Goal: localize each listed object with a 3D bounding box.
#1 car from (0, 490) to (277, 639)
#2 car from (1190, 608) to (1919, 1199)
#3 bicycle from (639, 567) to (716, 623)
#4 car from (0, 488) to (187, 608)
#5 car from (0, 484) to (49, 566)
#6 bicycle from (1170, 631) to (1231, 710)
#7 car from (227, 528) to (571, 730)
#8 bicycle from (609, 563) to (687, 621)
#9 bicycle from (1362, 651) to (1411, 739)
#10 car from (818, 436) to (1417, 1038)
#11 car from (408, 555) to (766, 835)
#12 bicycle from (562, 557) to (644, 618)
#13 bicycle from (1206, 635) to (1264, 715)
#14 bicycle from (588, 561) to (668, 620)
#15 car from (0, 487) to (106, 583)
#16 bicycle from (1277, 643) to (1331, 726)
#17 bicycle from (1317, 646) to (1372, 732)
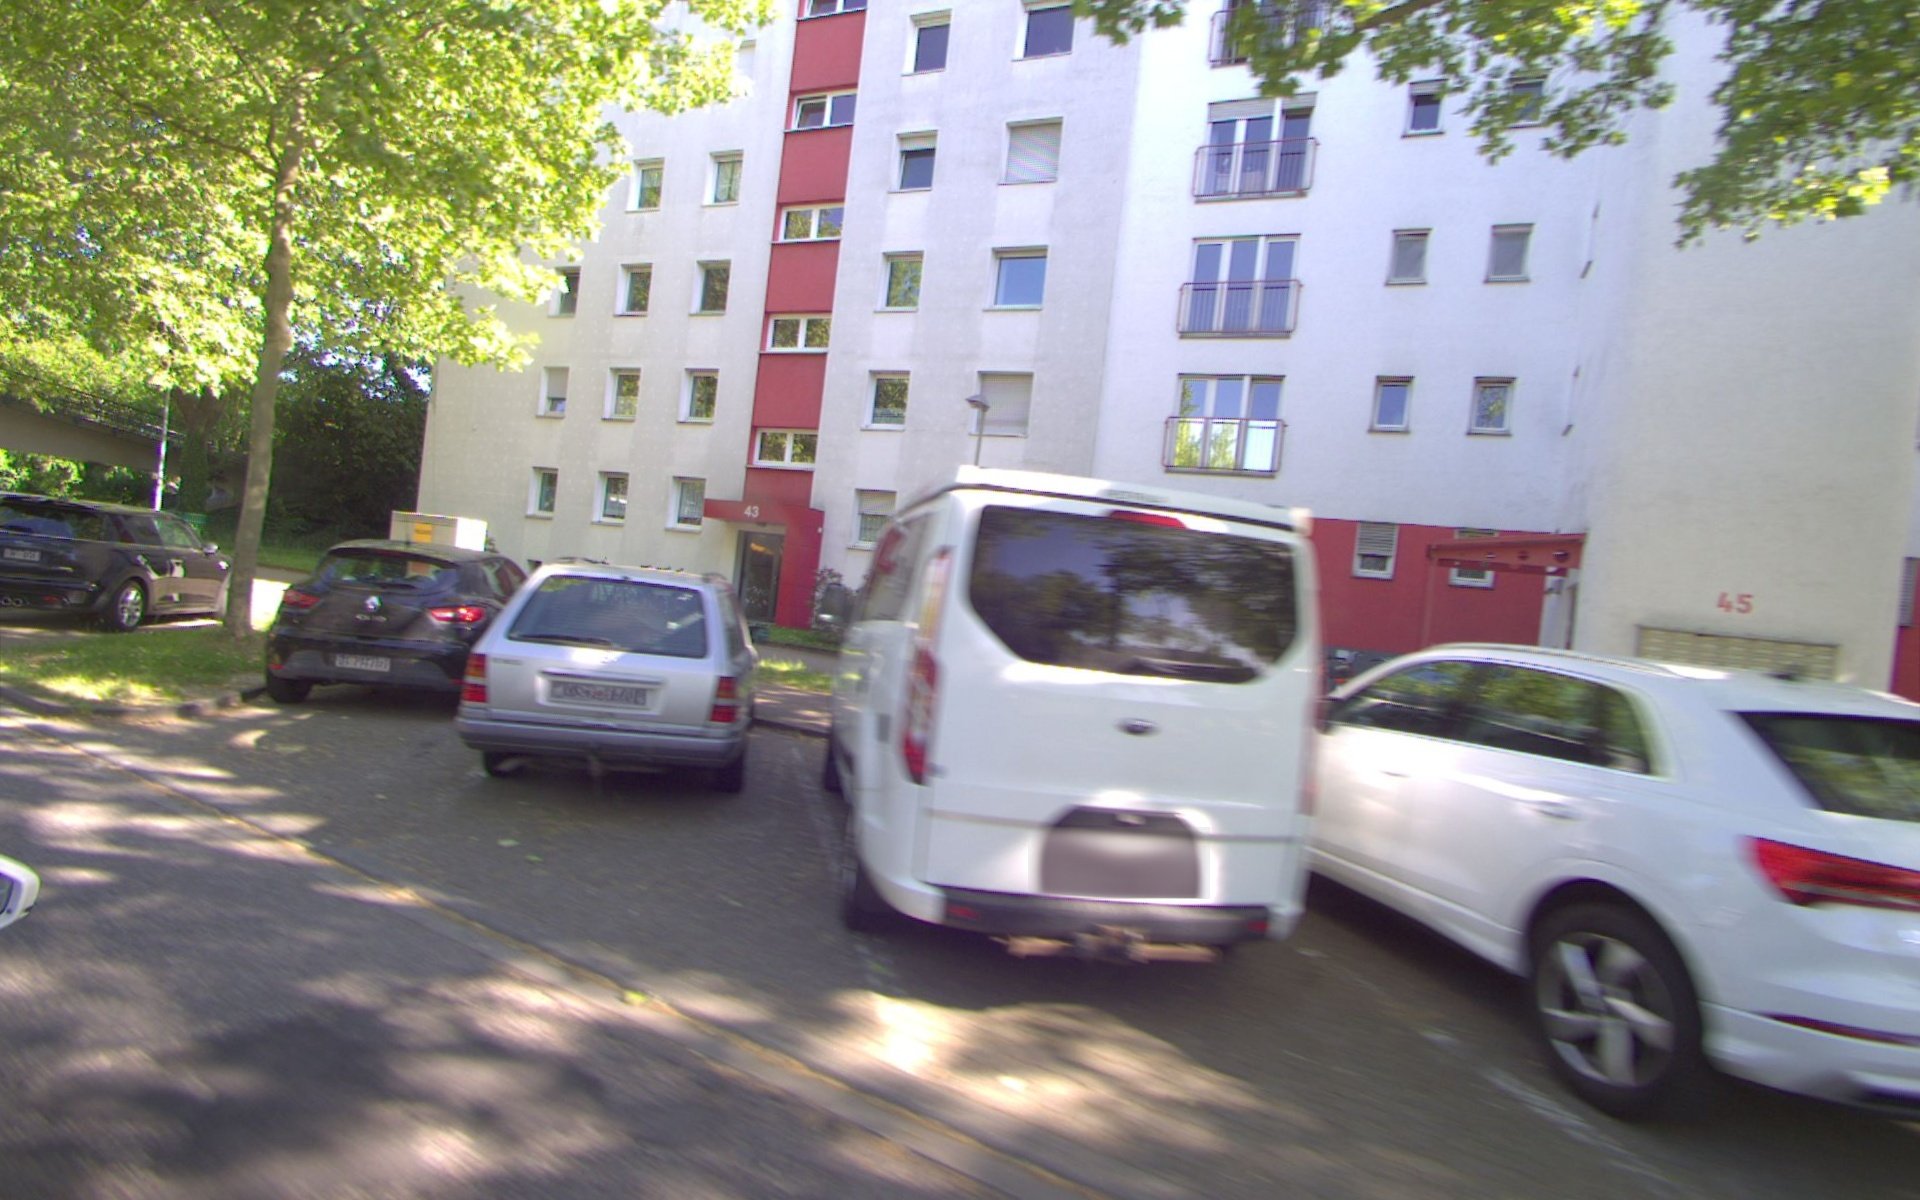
[{"bbox_3d":[-10.518,-0.488,12.617,1.753,1.487,3.988,5,1,-12],"label":"car"},{"bbox_3d":[2.883,1.023,4.794,1.802,1.601,4.046,5,1,-12],"label":"car"},{"bbox_3d":[-6.779,-0.118,24.117,1.770,1.121,0.591,7,0,30],"label":"bicycle"},{"bbox_3d":[-13.131,-0.781,14.090,1.769,1.481,4.246,6,1,-9],"label":"car"},{"bbox_3d":[-18.288,-1.423,17.564,1.771,1.481,3.987,5,1,-14],"label":"car"},{"bbox_3d":[3.974,1.127,16.545,0.491,1.145,1.796,7,3,25],"label":"bicycle"},{"bbox_3d":[-5.114,0.166,9.812,1.770,1.435,3.912,5,1,-12],"label":"car"},{"bbox_3d":[-7.298,-0.191,23.503,1.770,1.121,0.591,7,0,30],"label":"bicycle"},{"bbox_3d":[6.522,1.413,15.347,0.491,1.145,1.796,7,3,25],"label":"bicycle"},{"bbox_3d":[0.296,0.483,5.951,1.983,2.079,4.579,5,1,-9],"label":"car"},{"bbox_3d":[-2.498,0.473,7.891,1.770,1.442,4.578,6,1,-11],"label":"car"},{"bbox_3d":[-7.868,-0.276,22.160,1.770,1.121,0.591,7,0,30],"label":"bicycle"},{"bbox_3d":[4.498,1.188,16.382,0.491,1.145,1.796,7,3,25],"label":"bicycle"},{"bbox_3d":[-7.521,-0.218,22.763,1.770,1.121,0.590,7,1,30],"label":"bicycle"},{"bbox_3d":[-15.832,-1.097,15.727,1.769,1.481,4.246,6,1,-10],"label":"car"},{"bbox_3d":[5.450,1.298,15.881,0.491,1.145,1.796,7,3,25],"label":"bicycle"},{"bbox_3d":[5.985,1.351,15.628,0.540,1.145,1.796,7,3,25],"label":"bicycle"}]
